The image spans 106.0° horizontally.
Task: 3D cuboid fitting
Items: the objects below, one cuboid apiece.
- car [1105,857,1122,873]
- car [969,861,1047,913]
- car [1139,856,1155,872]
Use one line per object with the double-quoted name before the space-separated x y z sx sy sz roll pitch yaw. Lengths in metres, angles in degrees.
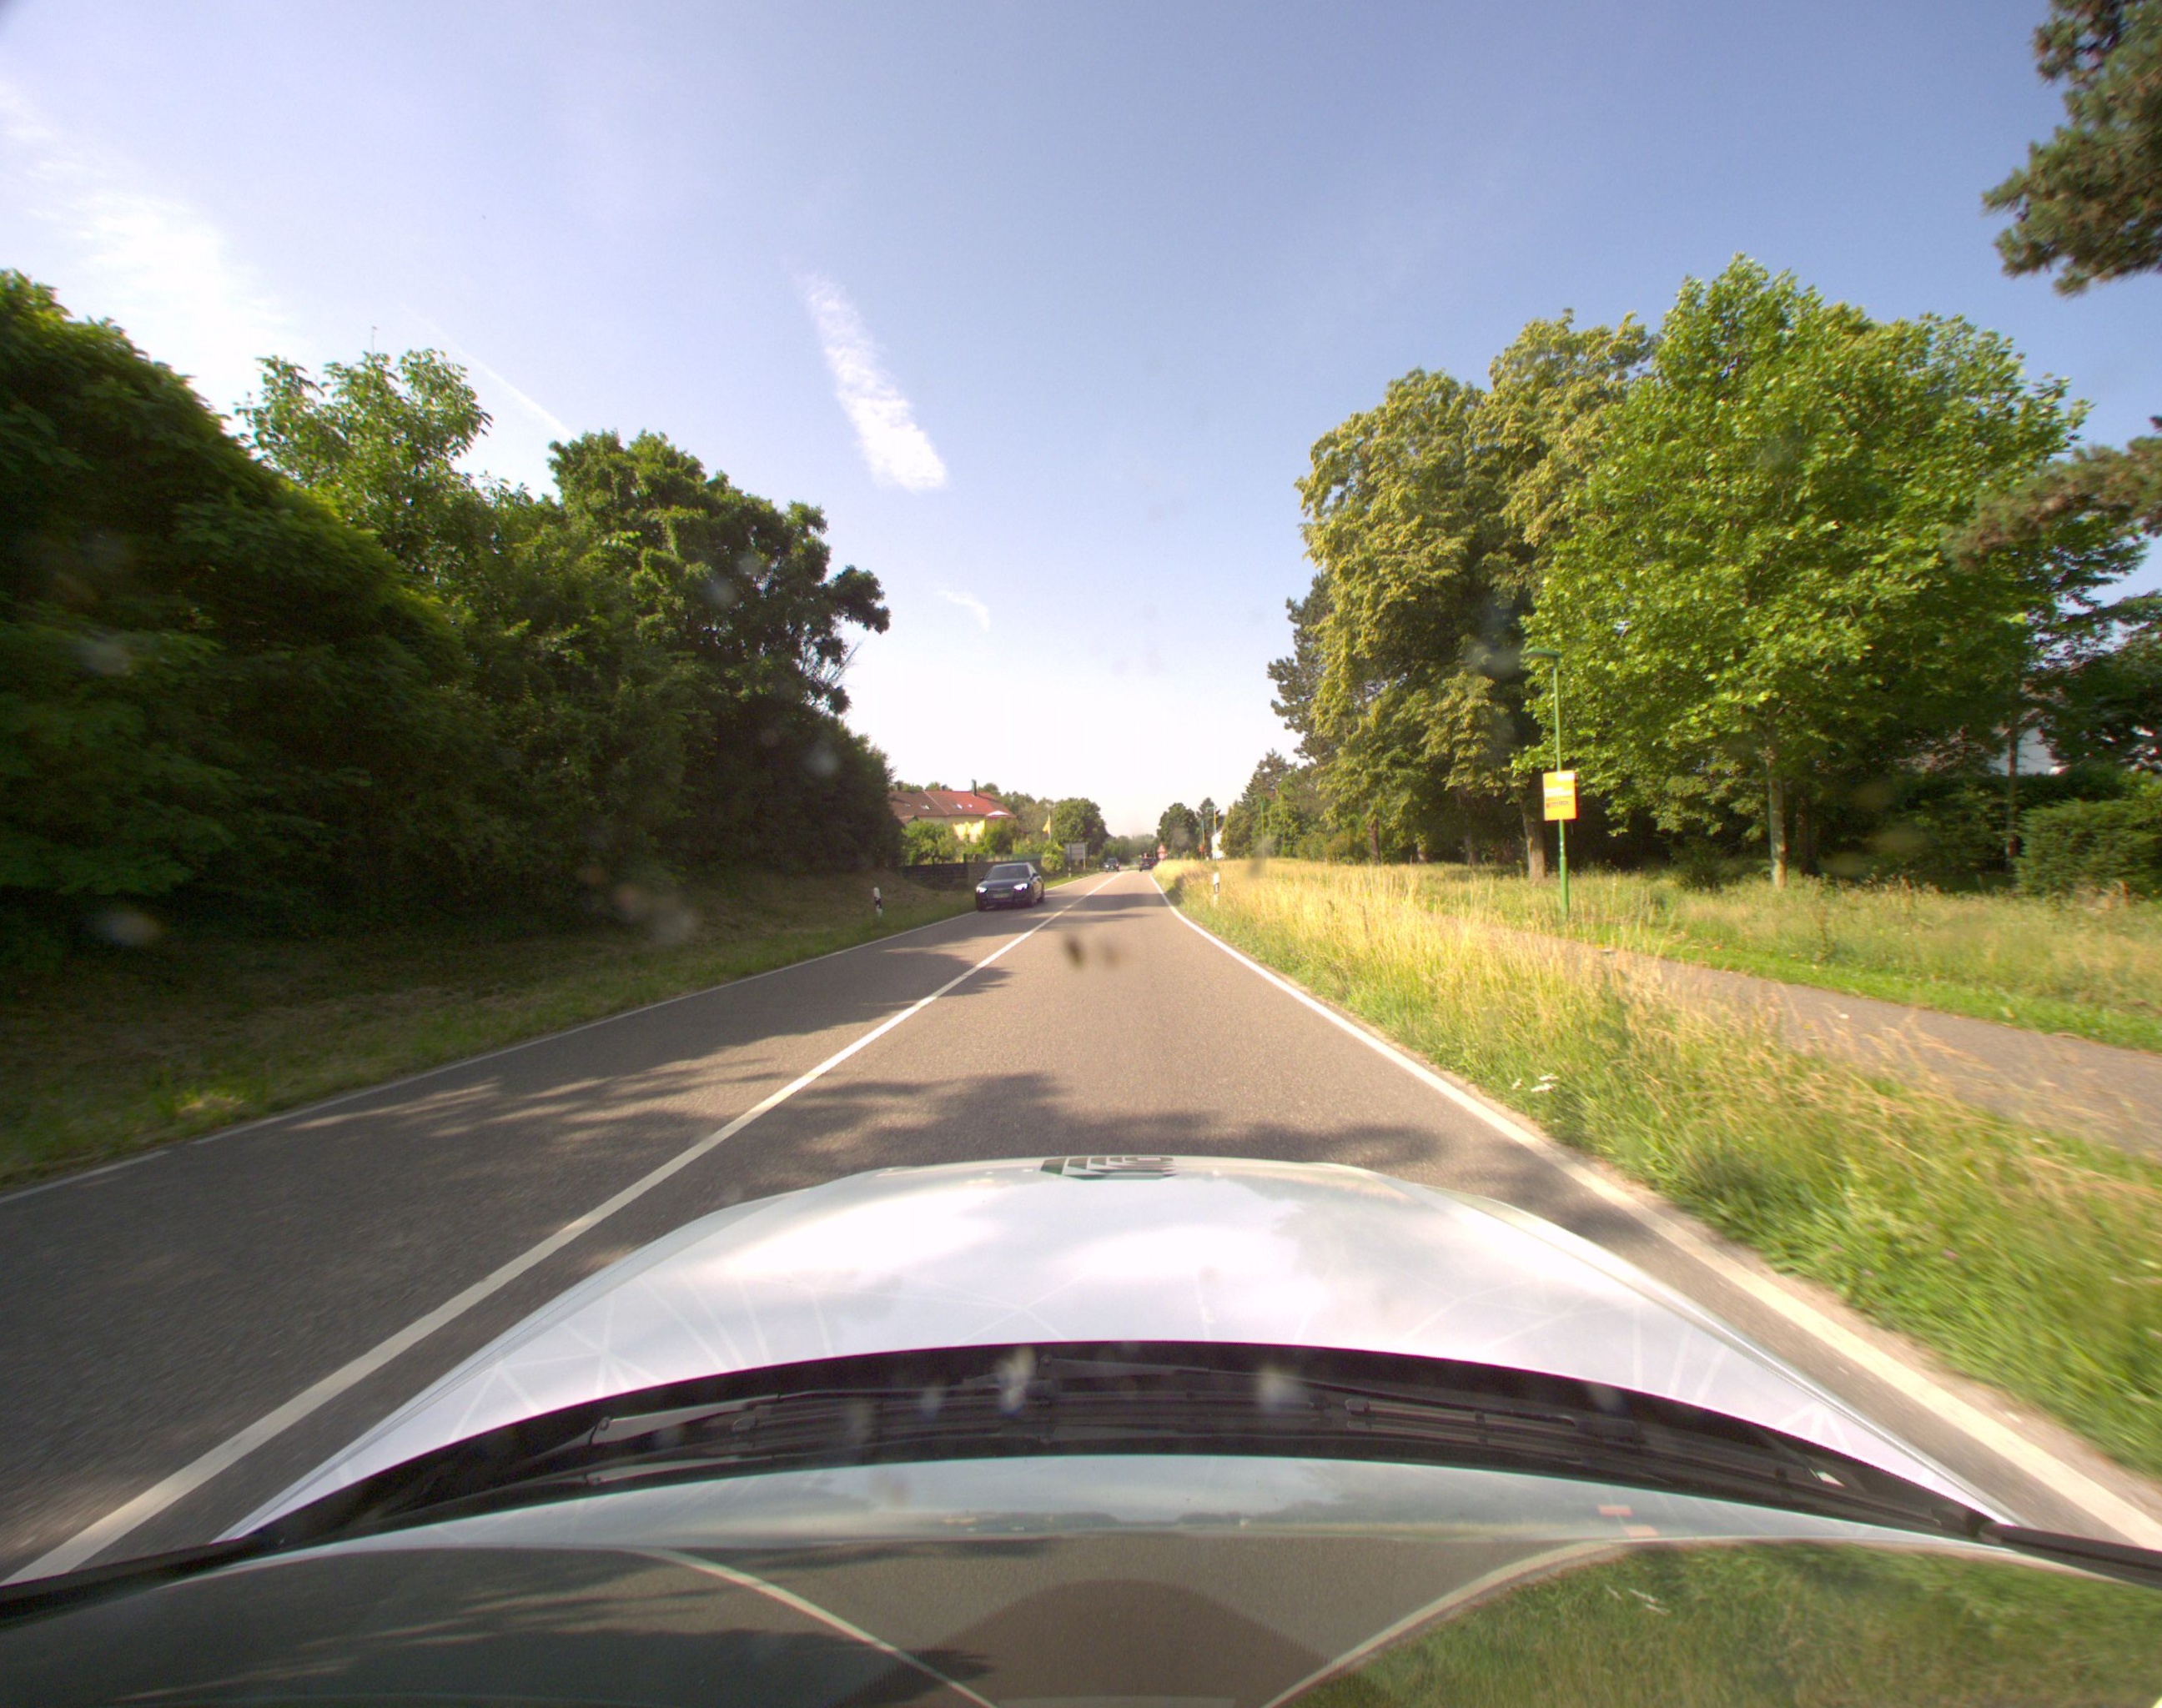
"car" 4.289 1.435 106.968 1.930 1.817 4.248 -4 -1 5
"car" -2.329 1.026 27.315 1.862 1.423 4.580 -4 0 3
"car" 8.155 1.199 100.186 1.916 1.771 4.005 -2 0 5
